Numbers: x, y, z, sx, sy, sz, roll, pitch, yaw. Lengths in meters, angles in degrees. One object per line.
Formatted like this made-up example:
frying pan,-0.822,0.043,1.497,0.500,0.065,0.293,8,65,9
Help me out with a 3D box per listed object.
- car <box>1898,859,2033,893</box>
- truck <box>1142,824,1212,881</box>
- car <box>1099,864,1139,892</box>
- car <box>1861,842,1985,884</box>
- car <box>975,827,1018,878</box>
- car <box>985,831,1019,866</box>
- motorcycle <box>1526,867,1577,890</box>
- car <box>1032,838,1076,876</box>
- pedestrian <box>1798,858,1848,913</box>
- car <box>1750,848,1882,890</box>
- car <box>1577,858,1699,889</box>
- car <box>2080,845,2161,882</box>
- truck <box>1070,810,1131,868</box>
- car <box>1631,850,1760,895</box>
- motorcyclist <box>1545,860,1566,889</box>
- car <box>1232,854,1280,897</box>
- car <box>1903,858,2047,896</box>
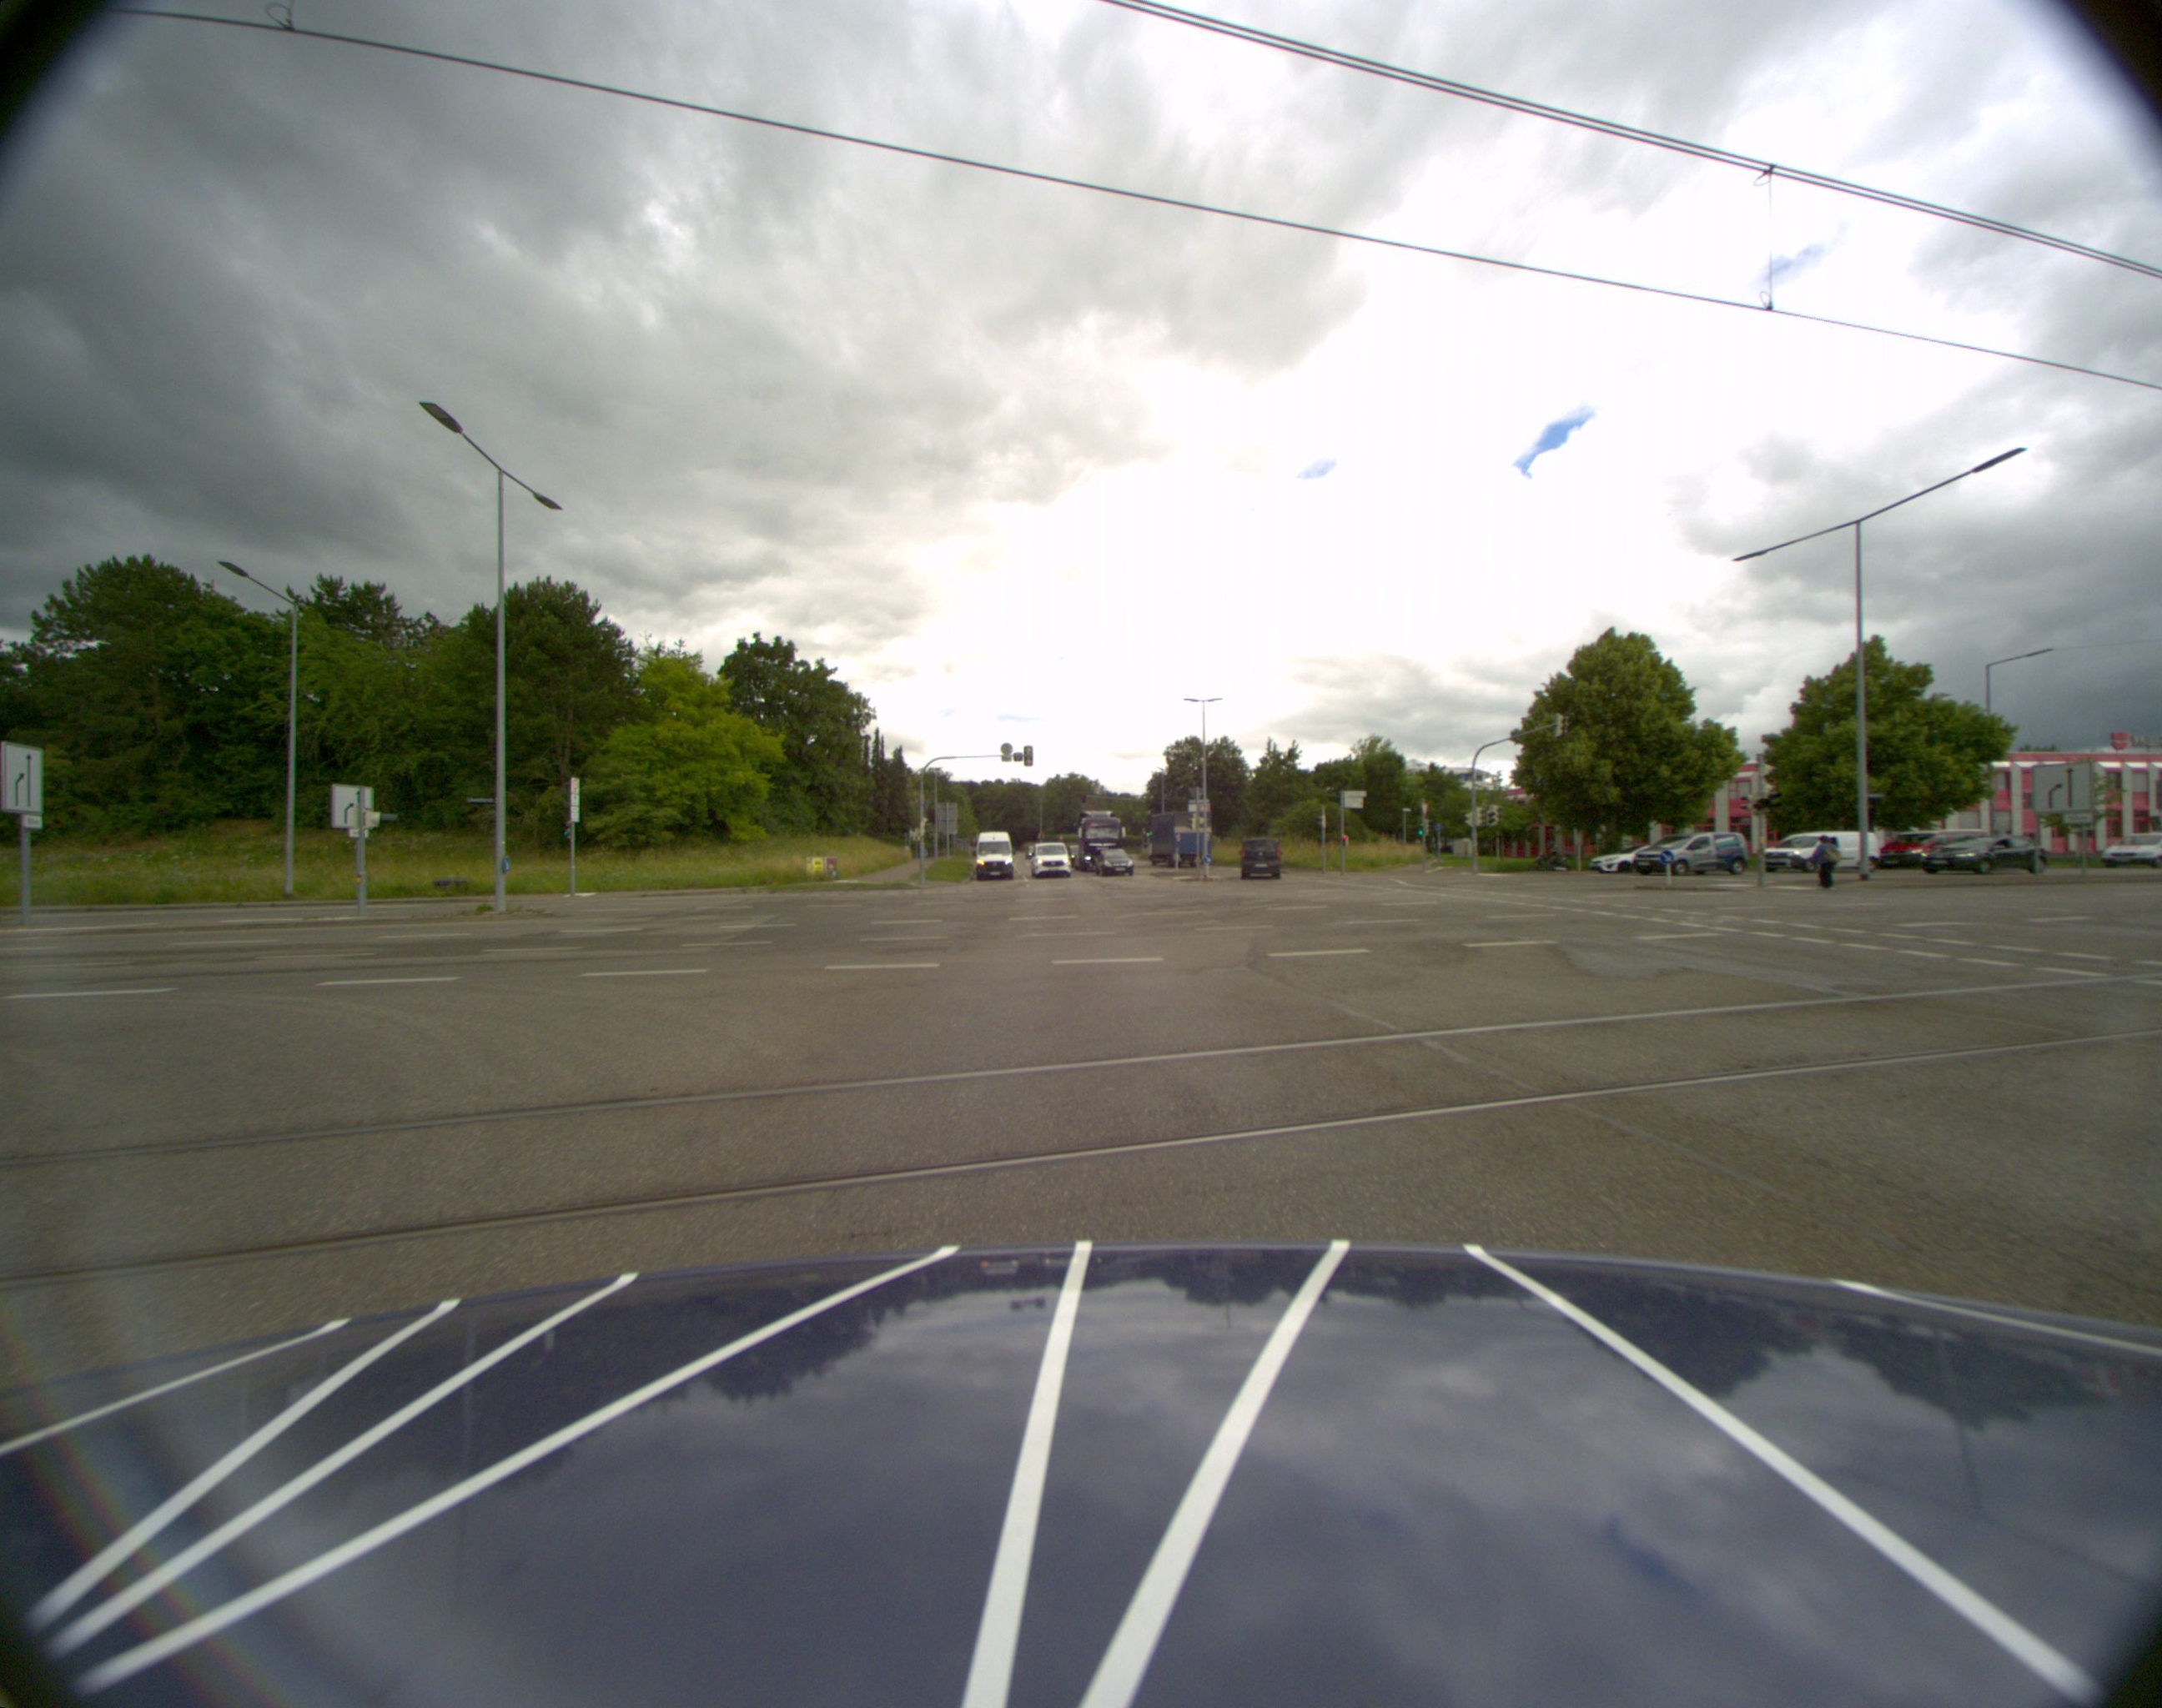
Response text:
car,39.794,0.983,34.227,4.221,1.332,1.814,3,-1,-5
truck,6.744,-0.070,54.693,2.787,3.781,8.383,-1,0,-8
car,2.081,1.296,42.562,1.636,1.433,3.864,-1,0,-6
car,42.493,0.467,38.409,4.455,1.894,2.183,3,0,-11
car,-4.841,-0.065,43.176,2.228,2.643,5.957,-2,0,-7
car,-5.740,-0.363,55.279,2.227,2.372,5.957,-2,0,-6
motorcycle,23.425,1.216,37.867,2.064,1.083,0.761,-1,-1,25
car,-1.625,0.172,43.507,2.120,1.979,4.985,-3,0,-6
pedestrian,20.770,0.874,21.281,0.670,1.521,0.715,-1,0,-5
car,32.715,0.680,33.875,4.697,1.781,1.813,0,0,-10
car,27.151,0.975,37.162,4.509,1.411,1.837,-1,-2,4
car,56.774,0.485,40.421,5.236,1.894,1.950,-1,0,-6
truck,1.167,-0.912,50.249,3.074,3.497,5.957,-2,0,-7
car,25.763,0.753,31.920,4.222,1.769,1.813,-1,0,-8
motorcyclist,23.597,1.017,37.784,0.815,1.413,0.761,-1,-1,26
car,8.170,0.965,35.782,1.997,1.865,4.895,-1,0,11
car,36.377,0.911,30.968,4.222,1.332,1.813,3,-1,-8
